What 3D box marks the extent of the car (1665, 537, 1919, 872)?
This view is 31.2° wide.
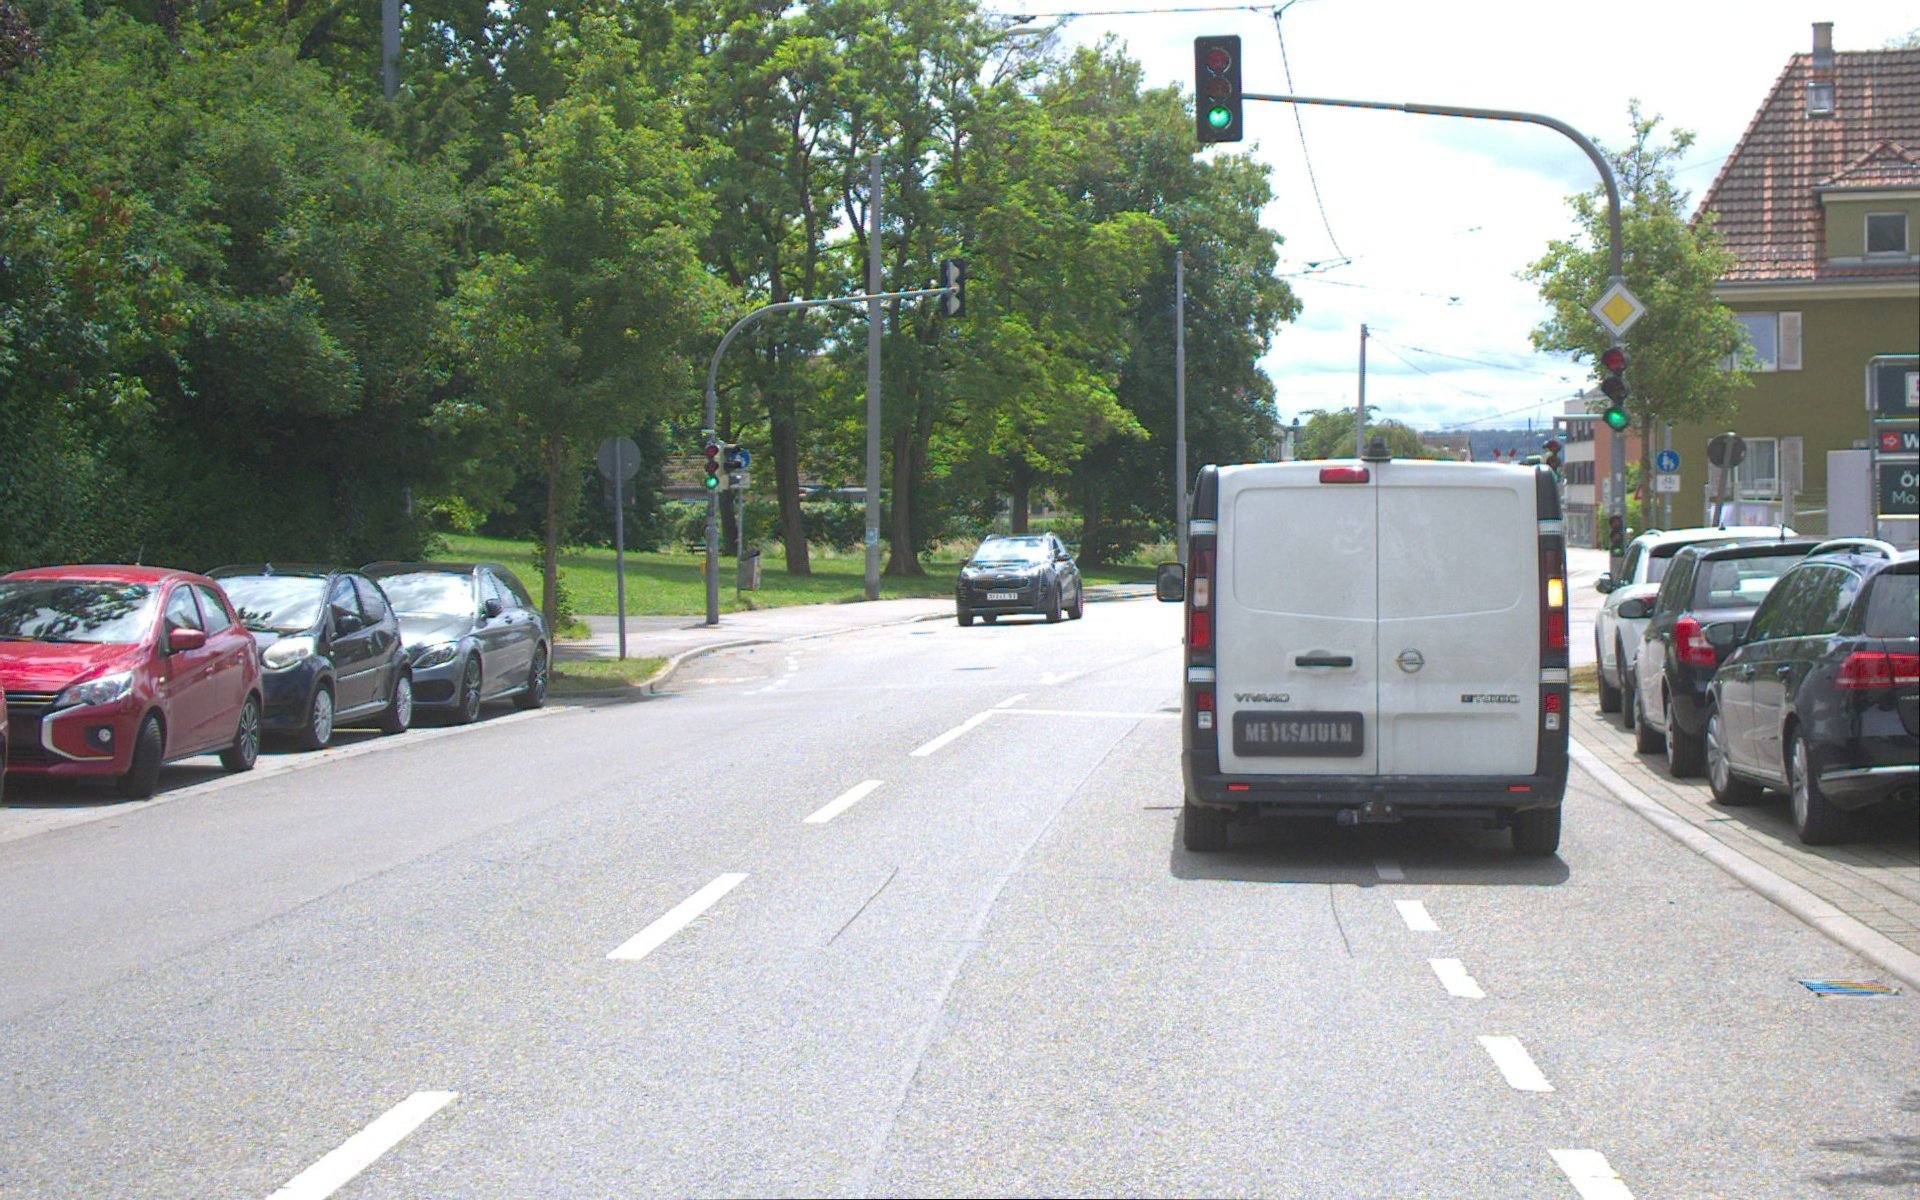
[{"bbox_3d":[5.021,0.426,18.157,1.765,1.472,4.935,-3,1,3],"label":"car"}]

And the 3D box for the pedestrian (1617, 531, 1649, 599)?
[{"bbox_3d":[15.575,-0.810,79.570,0.678,1.548,0.835,-2,-1,11],"label":"pedestrian"}]

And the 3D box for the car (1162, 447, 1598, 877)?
[{"bbox_3d":[2.091,0.242,18.410,1.939,1.954,4.833,1,1,3],"label":"car"}]

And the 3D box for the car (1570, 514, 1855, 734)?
[{"bbox_3d":[6.195,0.161,28.739,1.737,1.611,4.386,-3,0,6],"label":"car"}]

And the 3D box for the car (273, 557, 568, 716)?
[{"bbox_3d":[-5.043,0.292,32.736,1.695,1.361,4.686,1,1,5],"label":"car"}]

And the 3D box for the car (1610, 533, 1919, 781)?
[{"bbox_3d":[5.377,0.323,23.171,1.568,1.488,3.999,-2,1,6],"label":"car"}]

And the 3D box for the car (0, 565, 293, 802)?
[{"bbox_3d":[-5.953,0.502,23.608,1.650,1.445,4.104,1,1,5],"label":"car"}]

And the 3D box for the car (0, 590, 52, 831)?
[{"bbox_3d":[-6.466,0.653,18.329,1.661,1.373,4.565,1,1,5],"label":"car"}]

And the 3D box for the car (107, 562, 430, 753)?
[{"bbox_3d":[-5.648,0.425,28.470,1.596,1.445,3.595,1,1,6],"label":"car"}]

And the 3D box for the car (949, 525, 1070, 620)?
[{"bbox_3d":[0.950,-0.529,63.120,1.833,1.611,4.151,-2,1,6],"label":"car"}]
